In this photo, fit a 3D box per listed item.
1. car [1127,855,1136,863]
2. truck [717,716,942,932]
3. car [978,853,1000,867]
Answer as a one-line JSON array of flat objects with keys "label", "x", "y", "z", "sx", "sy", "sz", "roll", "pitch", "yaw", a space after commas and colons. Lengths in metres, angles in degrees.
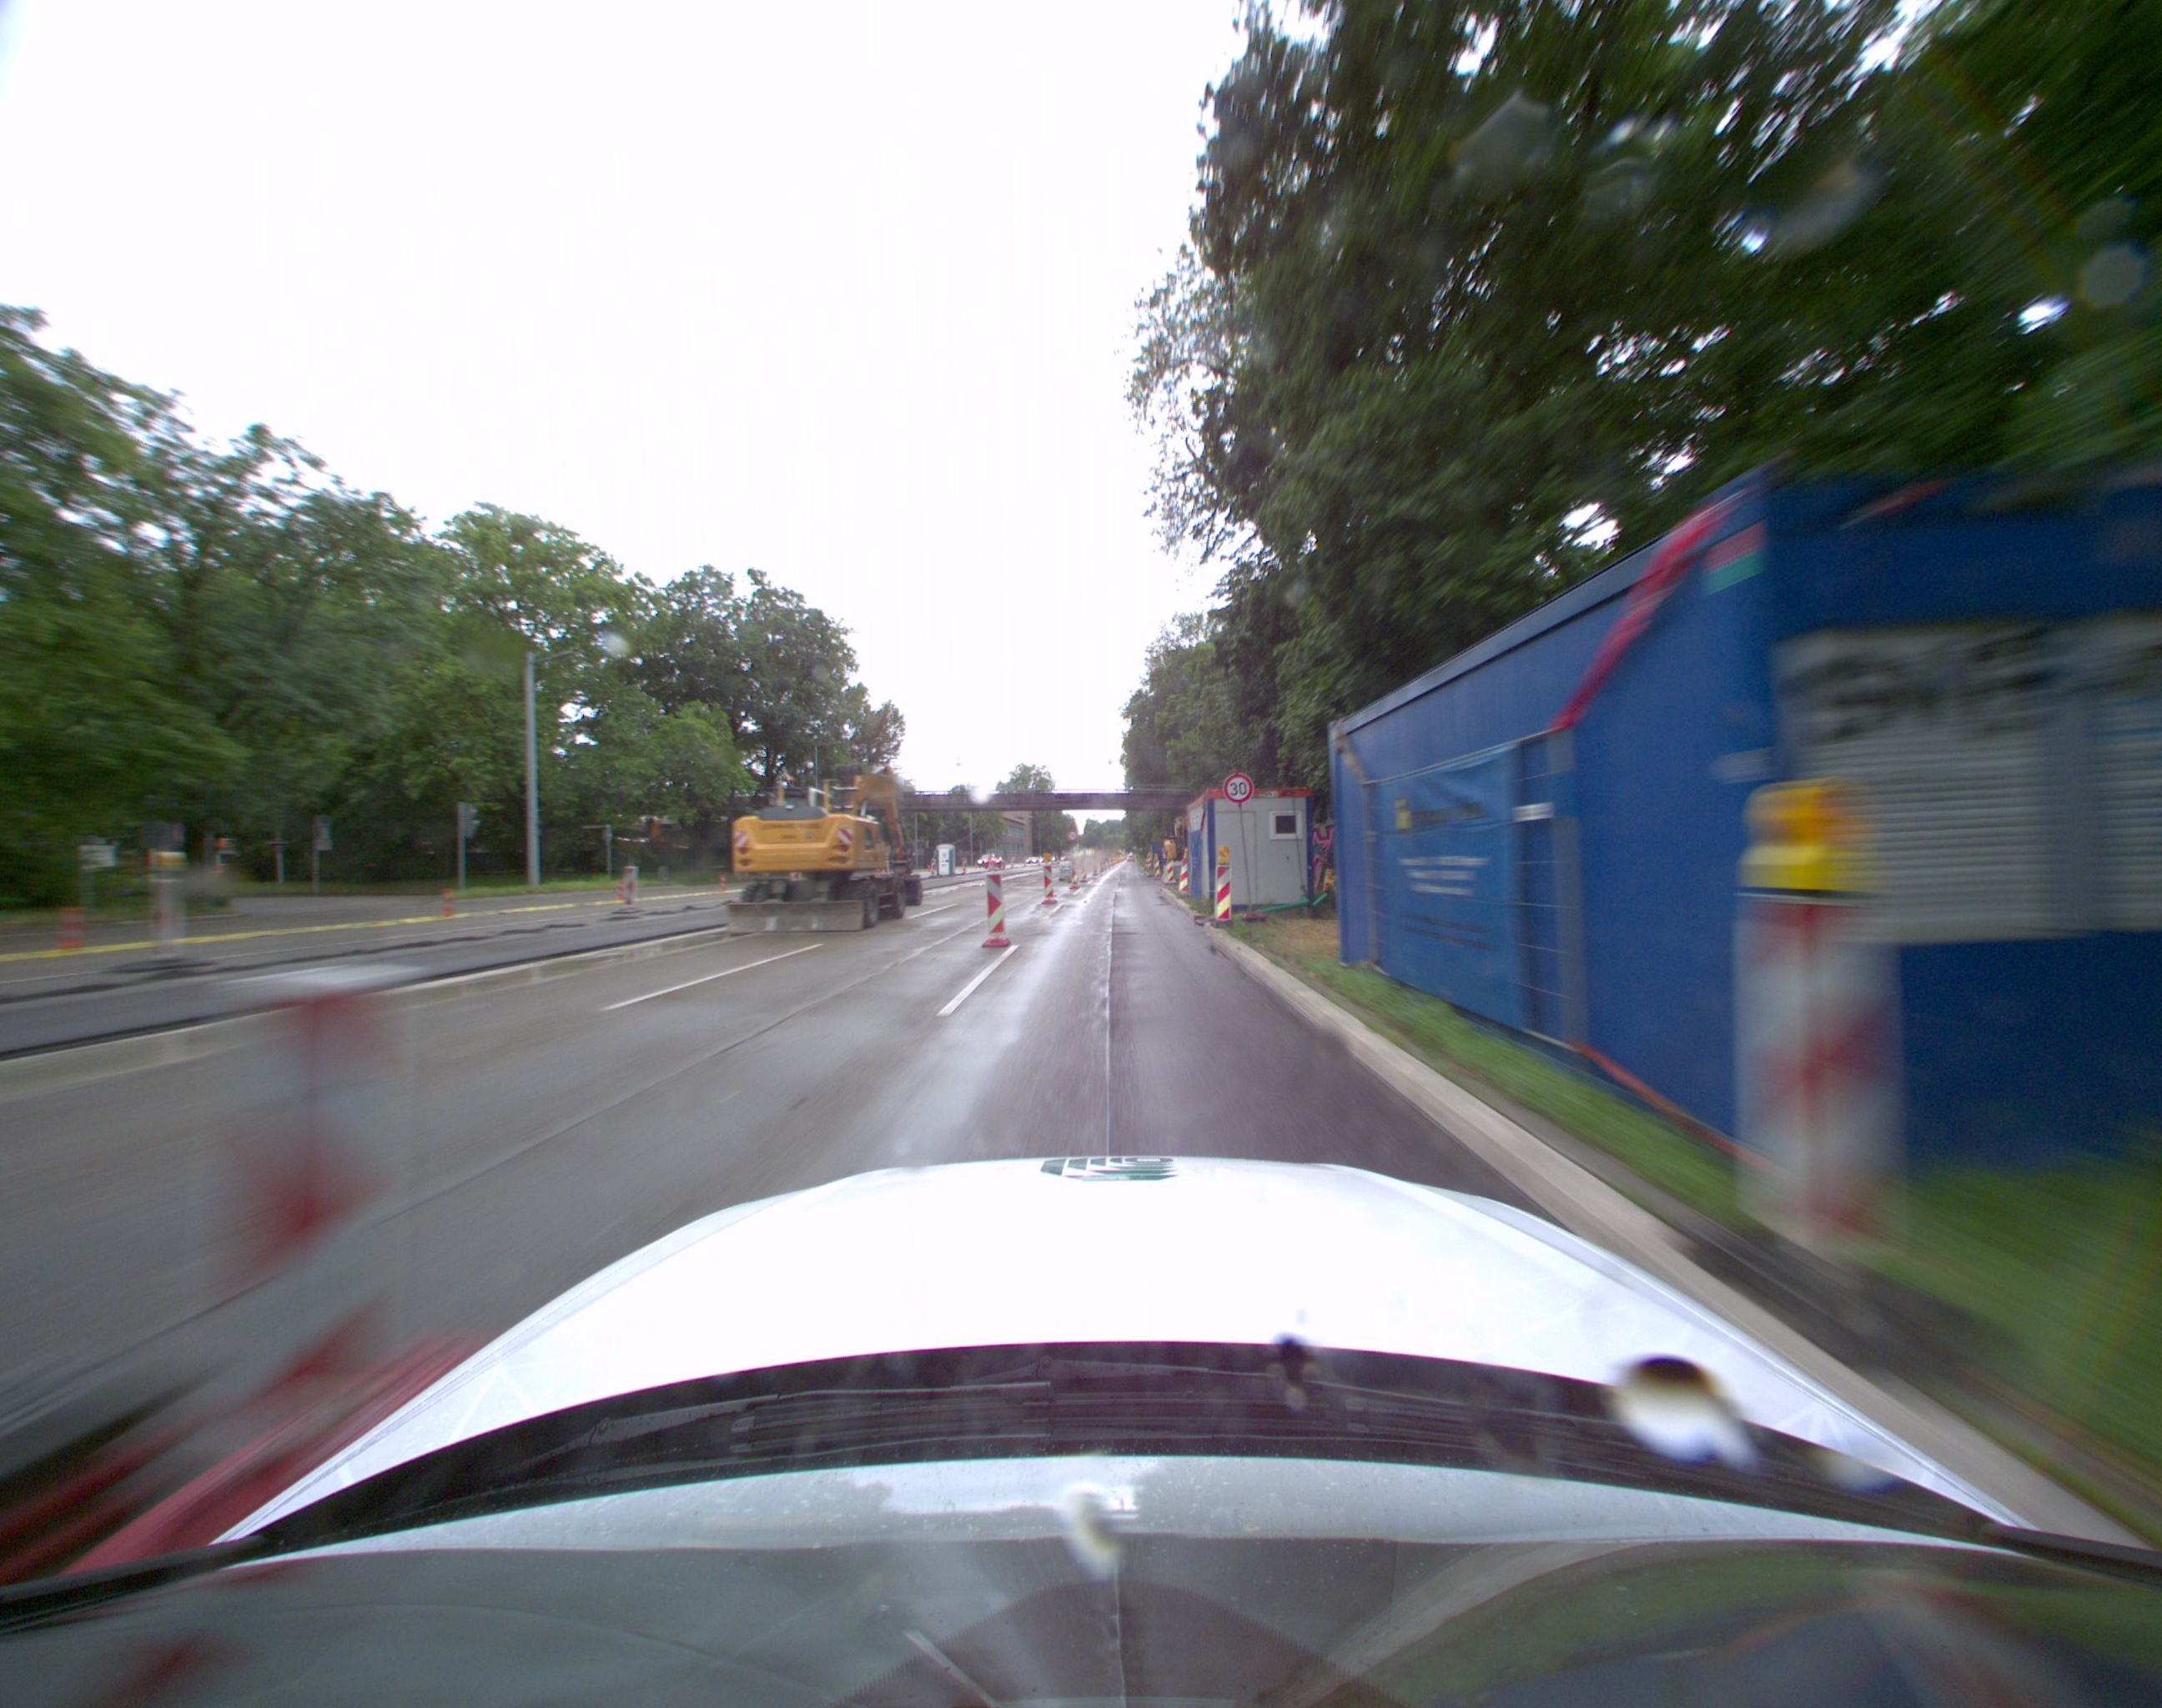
[{"label": "car", "x": 11.519, "y": 1.188, "z": 184.500, "sx": 1.985, "sy": 1.640, "sz": 4.003, "roll": -2, "pitch": 0, "yaw": 3}, {"label": "truck", "x": -5.890, "y": -0.589, "z": 21.497, "sx": 2.890, "sy": 4.259, "sz": 10.748, "roll": 0, "pitch": 0, "yaw": -2}, {"label": "car", "x": -12.286, "y": 0.813, "z": 108.936, "sx": 1.962, "sy": 1.806, "sz": 4.613, "roll": -2, "pitch": 0, "yaw": 4}]
